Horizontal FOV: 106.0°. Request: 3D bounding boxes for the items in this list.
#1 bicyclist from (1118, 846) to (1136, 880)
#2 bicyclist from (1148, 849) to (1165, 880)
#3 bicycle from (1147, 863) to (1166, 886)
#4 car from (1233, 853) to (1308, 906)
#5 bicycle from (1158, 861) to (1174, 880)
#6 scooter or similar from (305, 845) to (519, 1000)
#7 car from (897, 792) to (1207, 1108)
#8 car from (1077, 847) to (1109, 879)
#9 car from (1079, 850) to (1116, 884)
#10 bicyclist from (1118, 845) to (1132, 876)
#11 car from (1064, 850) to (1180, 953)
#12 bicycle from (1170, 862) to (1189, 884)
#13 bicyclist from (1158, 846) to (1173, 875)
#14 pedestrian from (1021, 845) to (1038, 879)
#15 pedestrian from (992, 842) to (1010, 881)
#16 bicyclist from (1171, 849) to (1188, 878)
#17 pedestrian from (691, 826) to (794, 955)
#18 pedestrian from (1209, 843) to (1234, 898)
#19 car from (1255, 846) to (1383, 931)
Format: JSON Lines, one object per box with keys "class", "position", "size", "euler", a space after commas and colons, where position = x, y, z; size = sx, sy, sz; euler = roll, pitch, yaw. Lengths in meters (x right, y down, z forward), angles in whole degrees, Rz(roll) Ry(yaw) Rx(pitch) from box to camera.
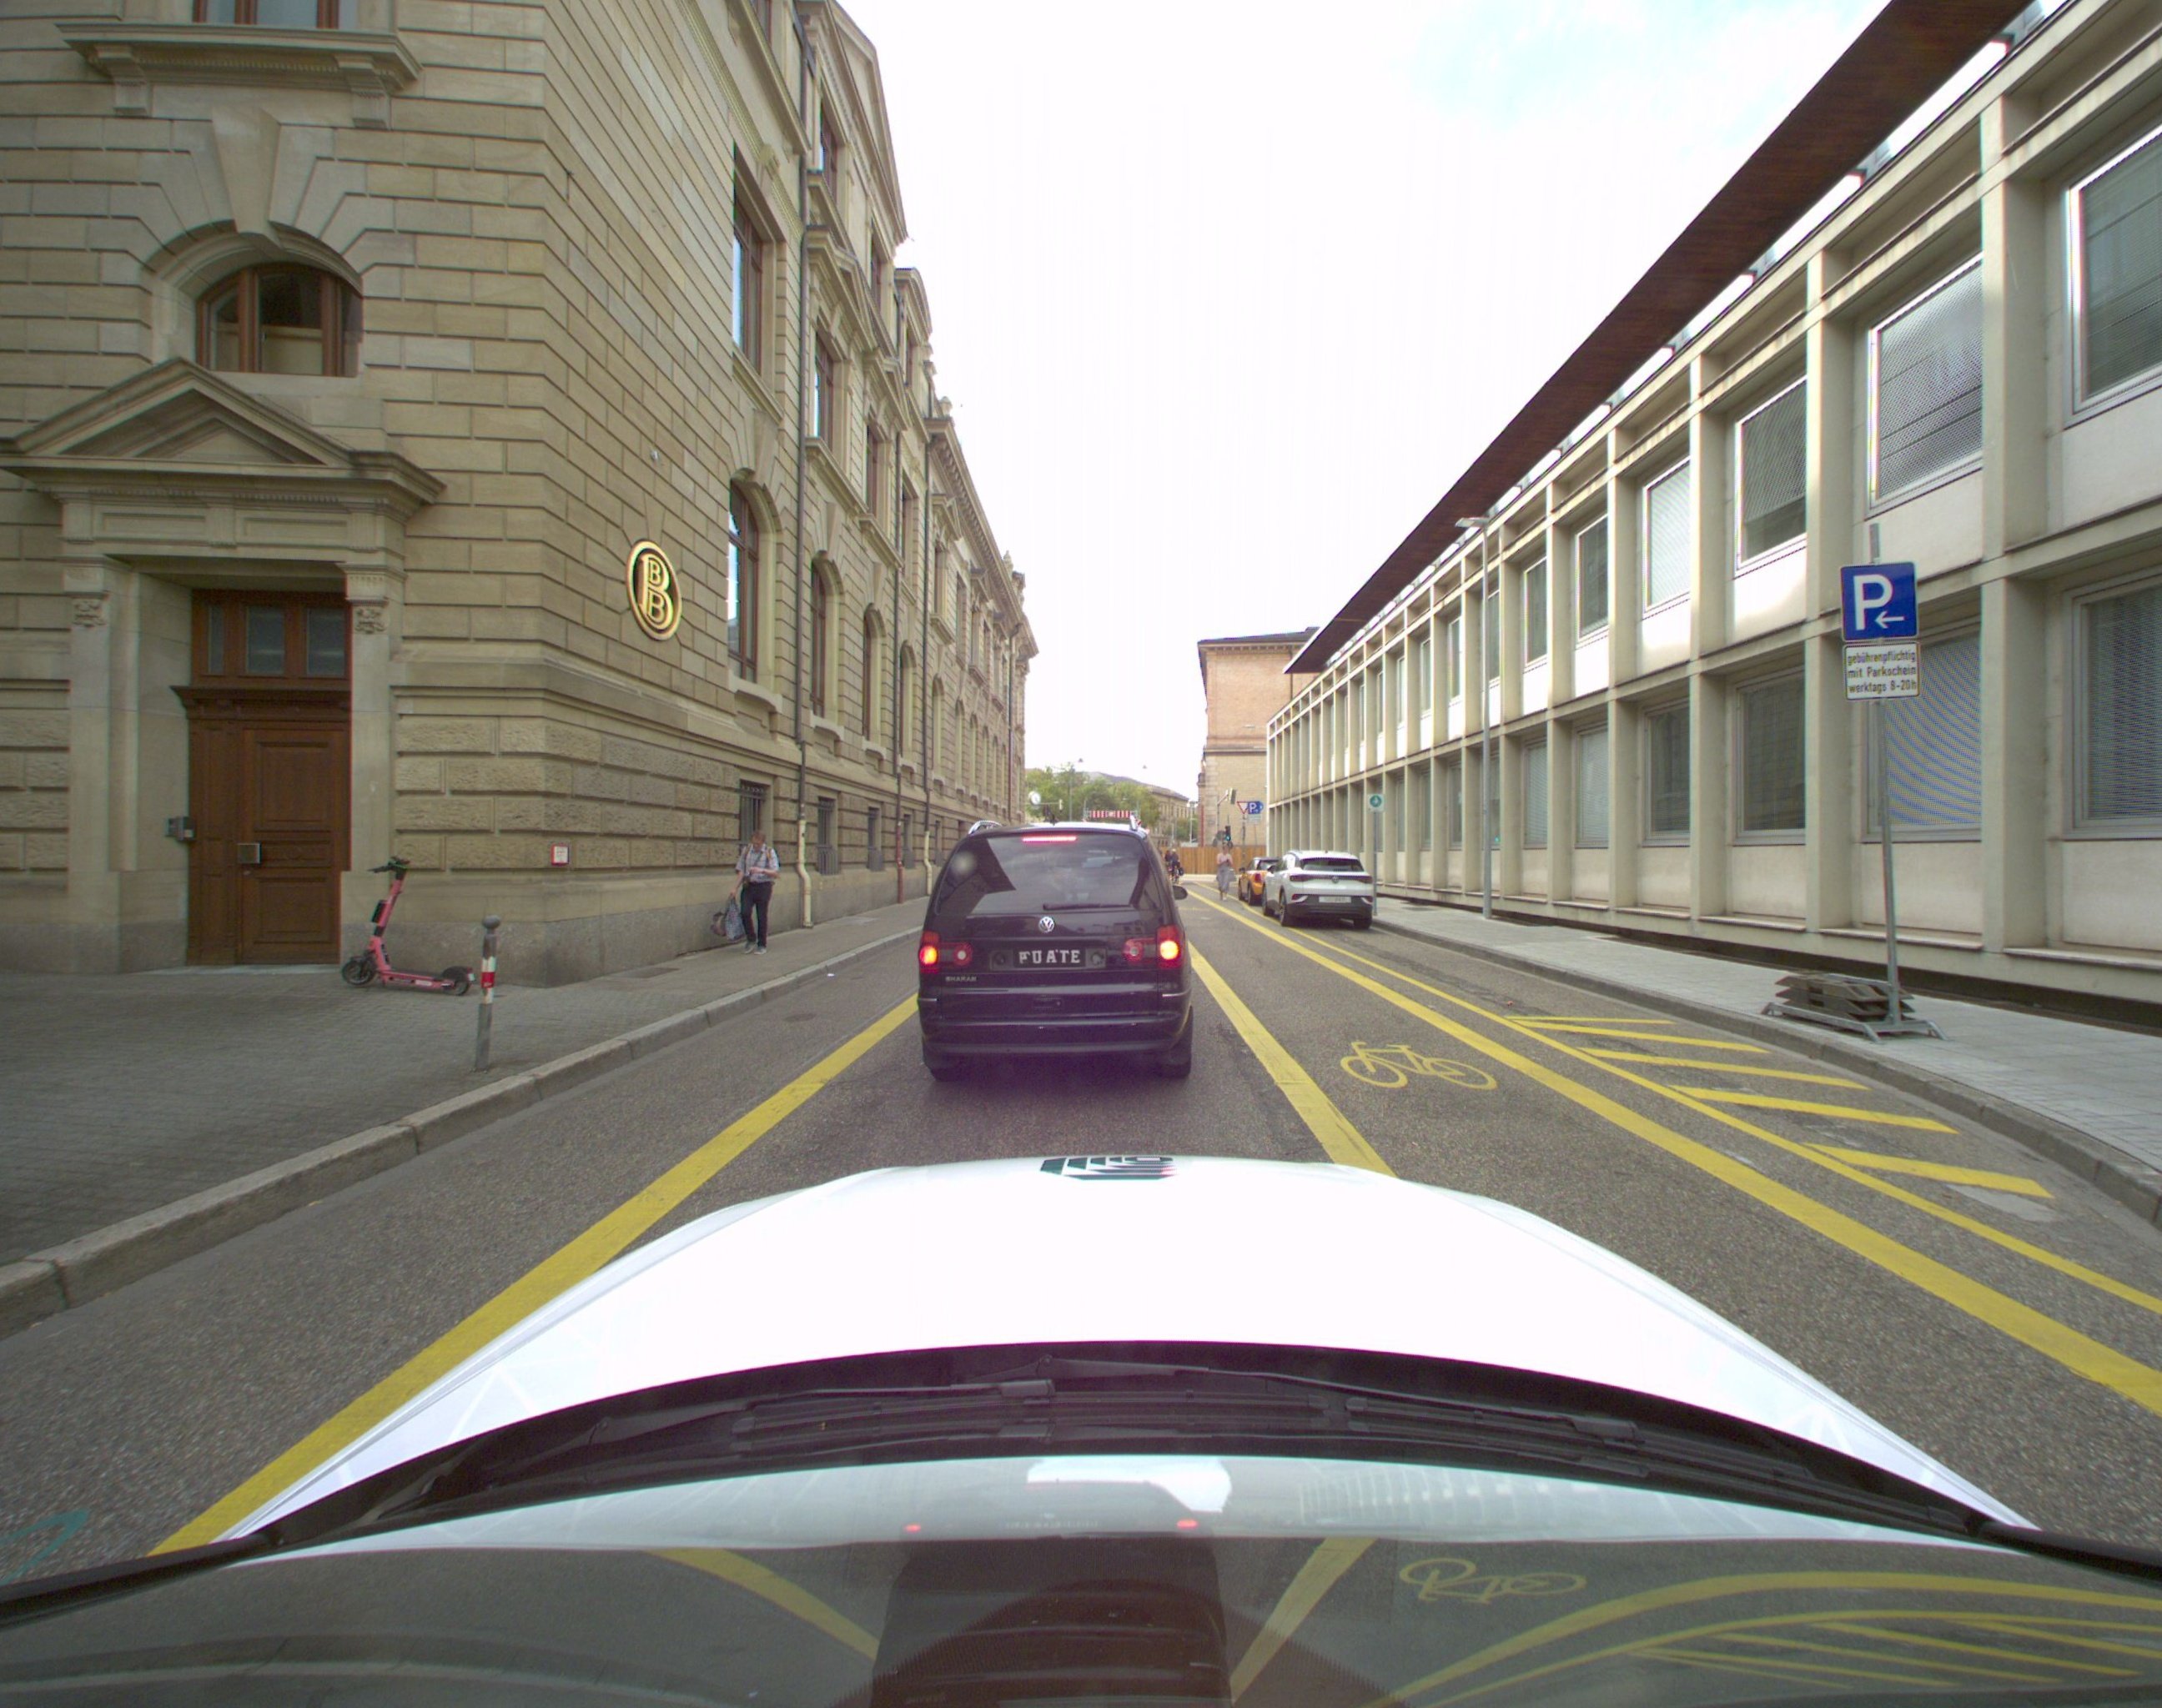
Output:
{"class": "bicyclist", "position": [2.047, 0.401, 36.321], "size": [0.732, 1.478, 0.885], "euler": [0, -1, 1]}
{"class": "bicyclist", "position": [3.399, 0.474, 36.730], "size": [0.732, 1.377, 0.829], "euler": [0, -1, 1]}
{"class": "bicycle", "position": [3.397, 0.901, 36.716], "size": [0.732, 1.009, 2.069], "euler": [0, -1, 2]}
{"class": "car", "position": [5.758, 0.743, 25.136], "size": [1.672, 1.435, 3.891], "euler": [3, 0, 5]}
{"class": "bicycle", "position": [4.628, 0.897, 44.434], "size": [0.732, 1.009, 2.069], "euler": [0, -1, 2]}
{"class": "scooter or similar", "position": [-6.179, 0.611, 7.563], "size": [1.441, 1.310, 0.587], "euler": [3, 1, 0]}
{"class": "car", "position": [-0.004, 0.553, 6.724], "size": [1.781, 1.790, 4.108], "euler": [0, 0, 5]}
{"class": "car", "position": [0.661, 0.522, 47.407], "size": [1.729, 1.790, 4.101], "euler": [0, 0, -1]}
{"class": "car", "position": [0.841, 0.636, 40.393], "size": [1.766, 1.586, 4.001], "euler": [0, -1, 2]}
{"class": "bicyclist", "position": [2.312, 0.335, 43.033], "size": [0.732, 1.611, 0.695], "euler": [0, -1, 1]}
{"class": "car", "position": [0.756, 0.695, 13.832], "size": [1.670, 1.469, 4.108], "euler": [0, 0, 5]}
{"class": "bicycle", "position": [4.733, 0.911, 39.240], "size": [0.732, 1.009, 2.069], "euler": [0, -1, 2]}
{"class": "bicyclist", "position": [4.632, 0.349, 44.518], "size": [0.732, 1.555, 0.896], "euler": [0, -1, 1]}
{"class": "pedestrian", "position": [-2.810, 0.460, 44.601], "size": [0.789, 1.819, 1.048], "euler": [2, -1, 2]}
{"class": "pedestrian", "position": [-3.762, 0.353, 38.278], "size": [0.661, 1.819, 1.048], "euler": [2, -1, 2]}
{"class": "bicyclist", "position": [4.733, 0.472, 39.228], "size": [0.732, 1.375, 0.832], "euler": [0, -1, 1]}
{"class": "pedestrian", "position": [-4.730, 0.498, 11.454], "size": [1.022, 1.720, 0.819], "euler": [2, -1, 1]}
{"class": "pedestrian", "position": [4.514, 0.527, 26.183], "size": [0.701, 1.764, 0.700], "euler": [0, -1, 1]}
{"class": "car", "position": [5.234, 0.709, 18.521], "size": [1.851, 1.605, 4.518], "euler": [3, 0, 5]}
